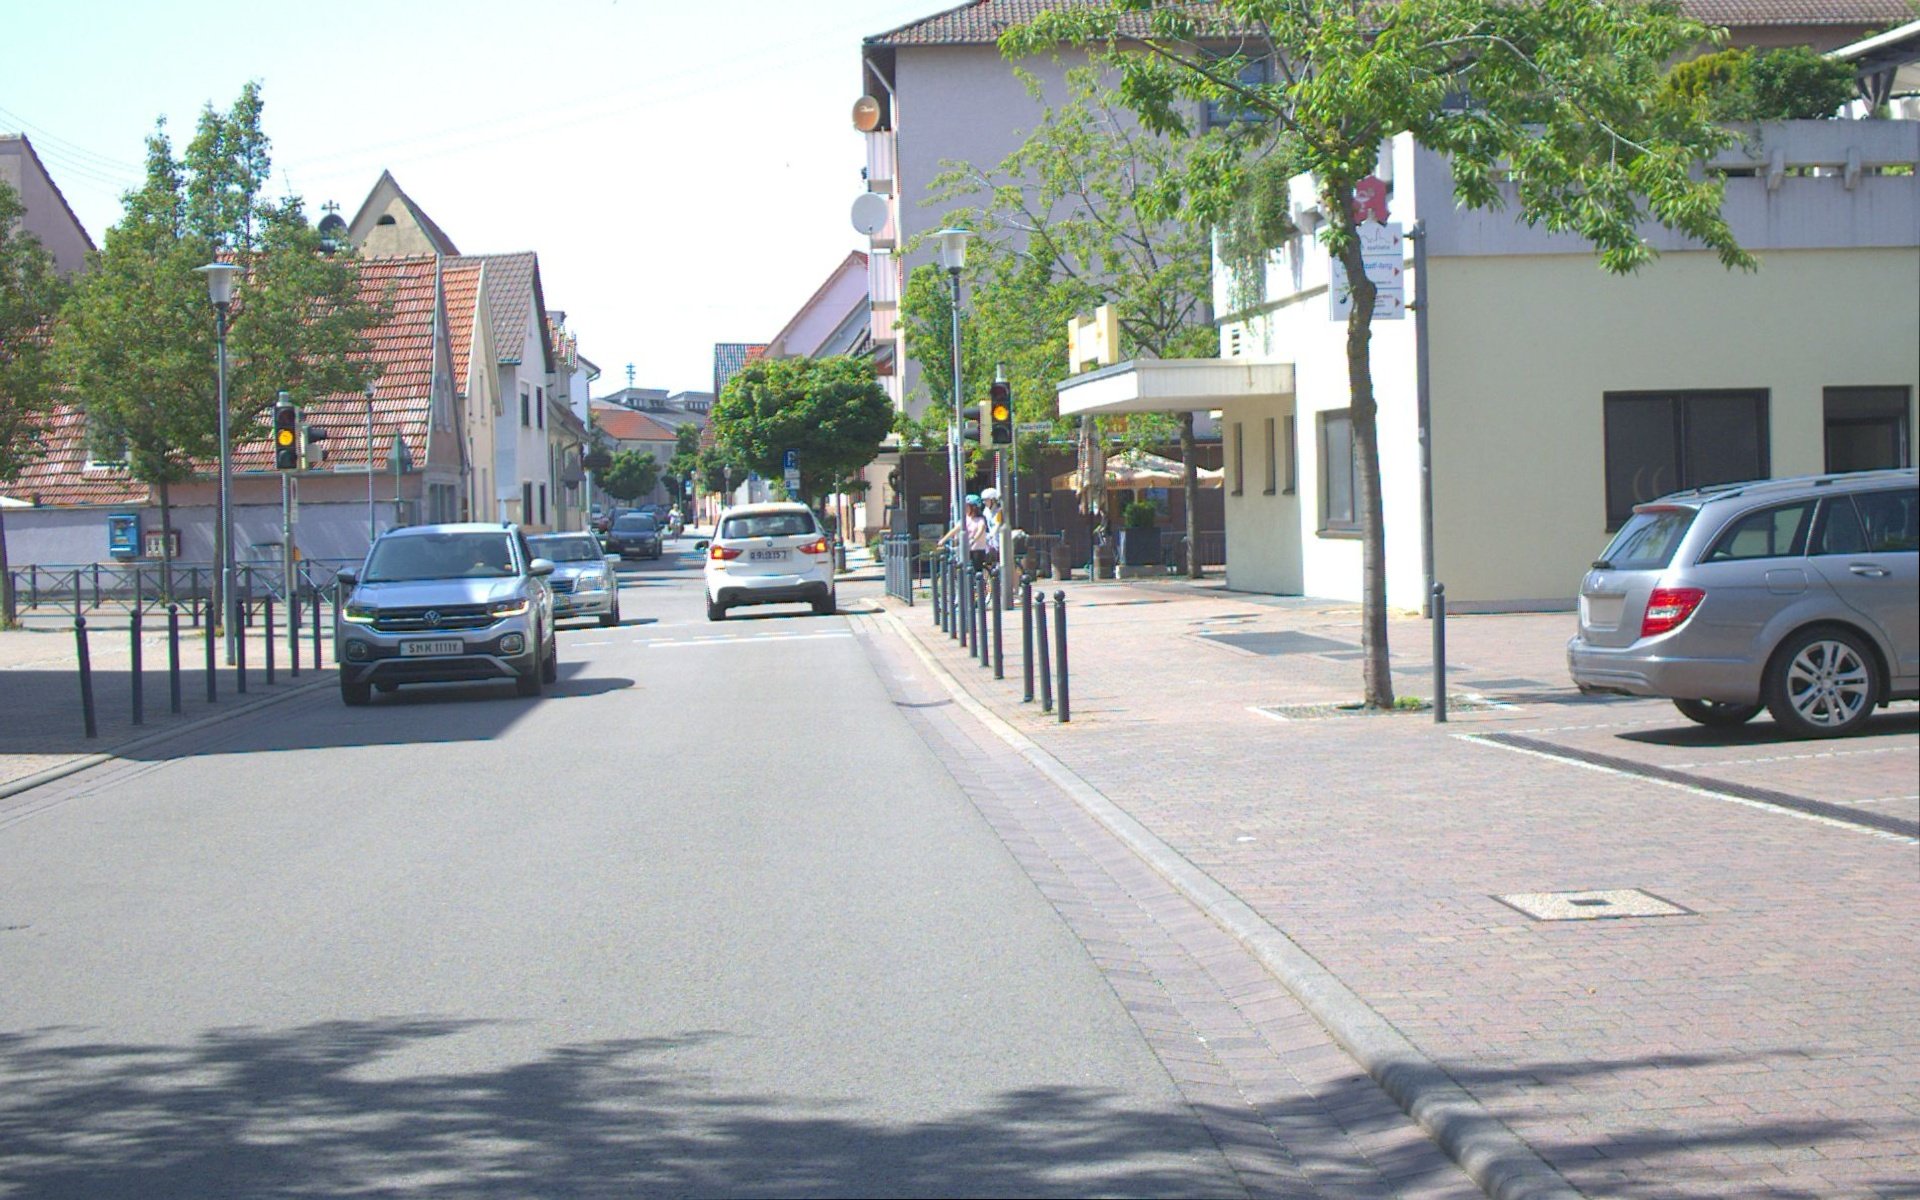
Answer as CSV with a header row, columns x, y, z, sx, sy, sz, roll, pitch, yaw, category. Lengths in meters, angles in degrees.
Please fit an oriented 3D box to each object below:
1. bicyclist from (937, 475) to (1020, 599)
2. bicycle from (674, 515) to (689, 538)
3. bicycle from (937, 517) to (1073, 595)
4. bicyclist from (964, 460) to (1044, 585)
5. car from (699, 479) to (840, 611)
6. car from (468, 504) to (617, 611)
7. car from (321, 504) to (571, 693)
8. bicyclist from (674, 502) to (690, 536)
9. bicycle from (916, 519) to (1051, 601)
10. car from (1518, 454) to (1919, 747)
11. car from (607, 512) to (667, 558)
x,y,z,sx,sy,sz,roll,pitch,yaw,category
0.246,-0.838,45.605,0.670,1.576,0.760,-2,3,41,bicyclist
-12.551,-3.307,154.863,0.664,1.002,1.898,-2,2,-4,bicycle
0.624,-0.608,47.126,1.891,0.954,0.675,-5,3,-44,bicycle
0.603,-1.057,47.115,0.759,1.658,0.670,-5,2,-44,bicyclist
-2.700,-0.824,49.201,1.834,1.646,4.001,-4,3,-2,car
-6.132,-0.655,50.883,1.880,1.459,4.437,-2,2,-3,car
-4.627,-0.063,31.461,1.851,1.568,4.001,-2,2,-3,car
-12.546,-3.657,154.916,0.673,1.477,0.770,-2,1,-4,bicyclist
0.321,-0.532,45.686,0.675,0.954,1.892,-2,3,42,bicycle
5.784,-0.104,19.986,4.574,1.507,1.917,-3,1,-9,car
-10.902,-2.209,116.121,1.714,1.512,3.787,-2,1,-1,car
